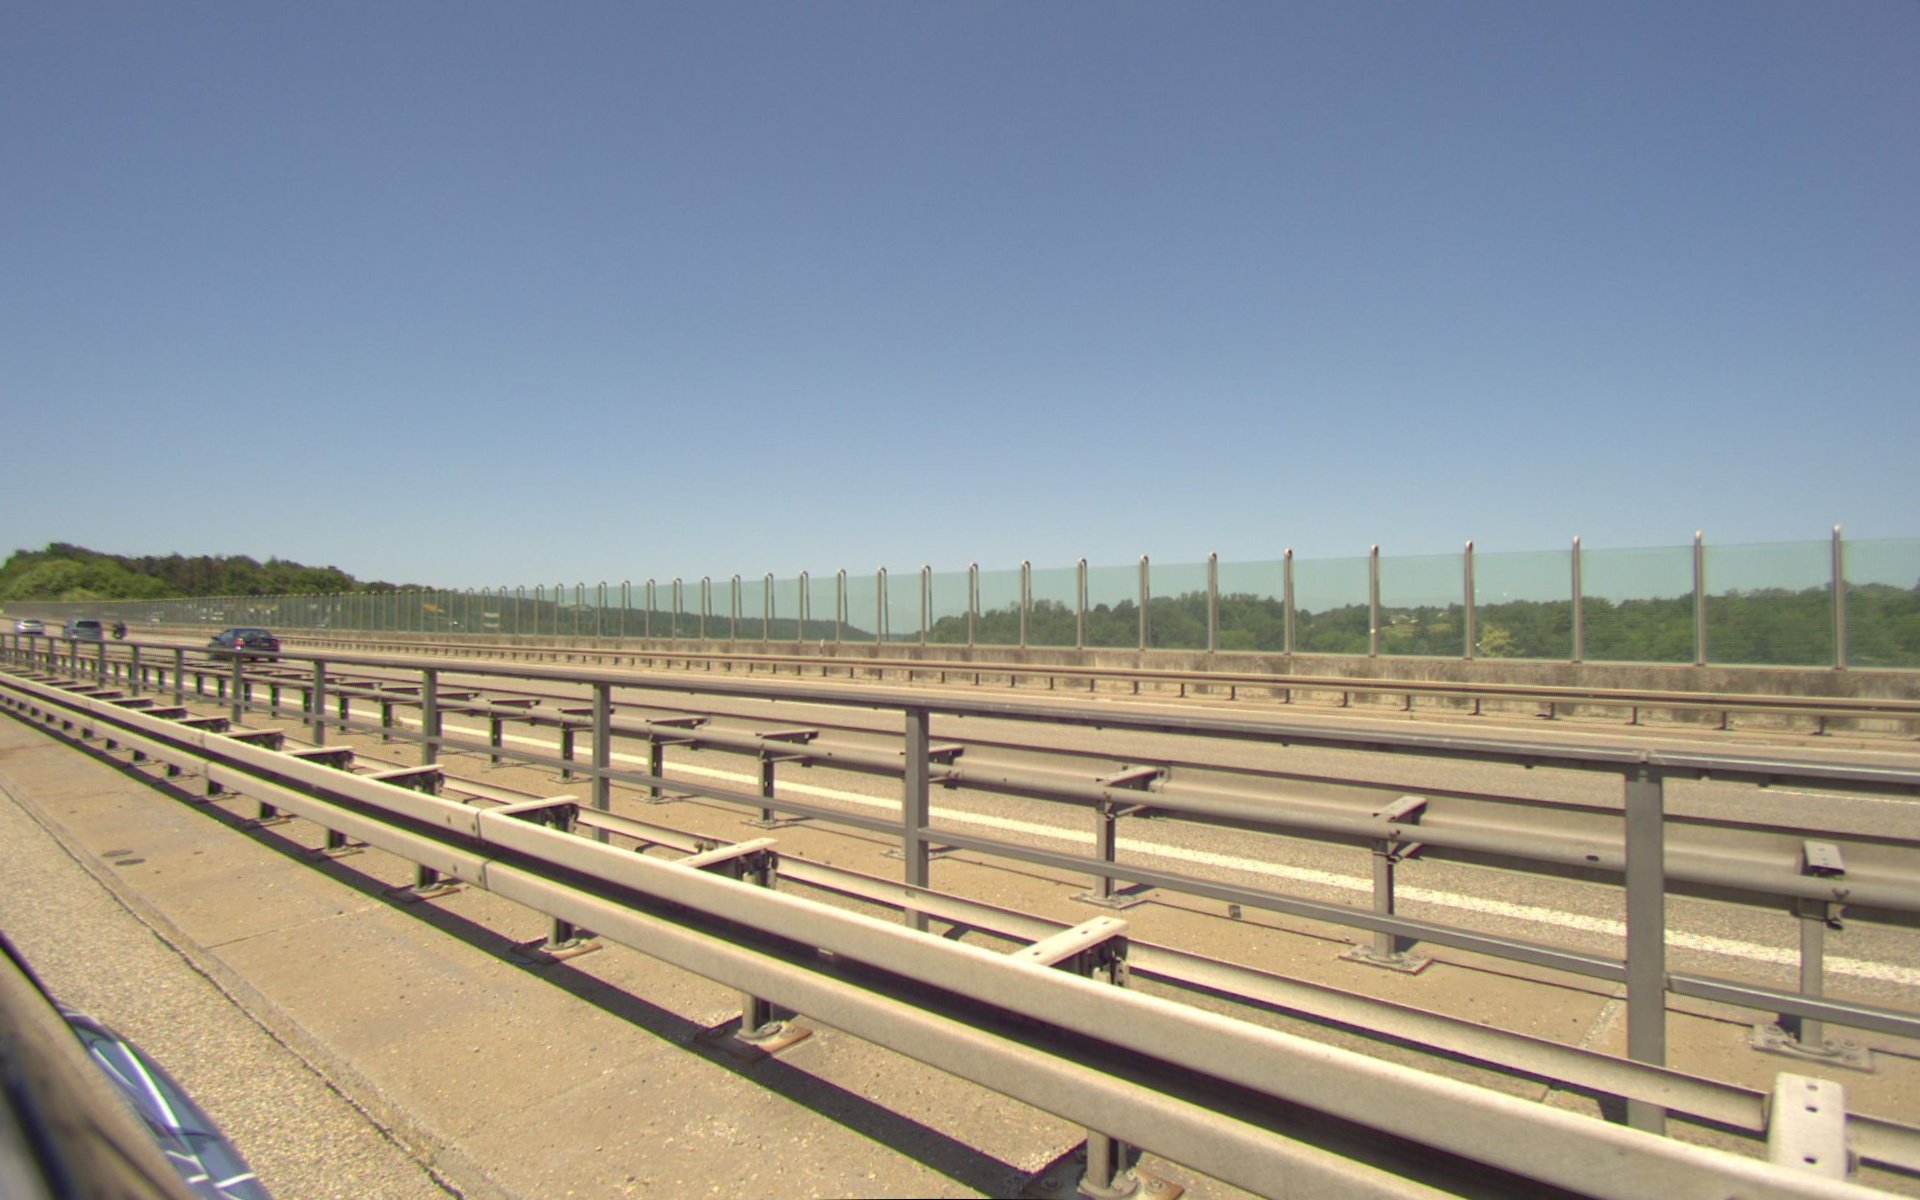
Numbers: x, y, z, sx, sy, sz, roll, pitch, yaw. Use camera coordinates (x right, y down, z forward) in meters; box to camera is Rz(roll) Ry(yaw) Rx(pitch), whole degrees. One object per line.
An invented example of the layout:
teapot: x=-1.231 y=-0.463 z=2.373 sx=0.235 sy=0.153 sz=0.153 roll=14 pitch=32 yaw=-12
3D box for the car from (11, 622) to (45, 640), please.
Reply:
car: x=-81.353 y=2.703 z=88.302 sx=4.122 sy=1.501 sz=1.713 roll=-1 pitch=0 yaw=41

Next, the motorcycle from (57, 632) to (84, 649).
motorcycle: x=-87.001 y=3.967 z=98.985 sx=3.380 sy=1.488 sz=1.471 roll=-1 pitch=0 yaw=40

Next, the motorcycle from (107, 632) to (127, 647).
motorcycle: x=-66.674 y=3.131 z=80.068 sx=2.648 sy=1.079 sz=0.782 roll=-1 pitch=-2 yaw=41

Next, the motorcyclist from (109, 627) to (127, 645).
motorcyclist: x=-66.468 y=2.836 z=79.885 sx=1.286 sy=1.293 sz=0.910 roll=-1 pitch=0 yaw=41

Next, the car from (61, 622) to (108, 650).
car: x=-58.355 y=2.387 z=67.416 sx=4.152 sy=1.715 sz=1.763 roll=-1 pitch=-2 yaw=41

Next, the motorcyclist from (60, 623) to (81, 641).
motorcyclist: x=-87.106 y=3.079 z=99.068 sx=1.132 sy=1.697 sz=1.362 roll=-1 pitch=0 yaw=39

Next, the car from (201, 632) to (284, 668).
car: x=-29.121 y=2.020 z=41.035 sx=4.268 sy=1.330 sz=1.742 roll=-1 pitch=-3 yaw=41
